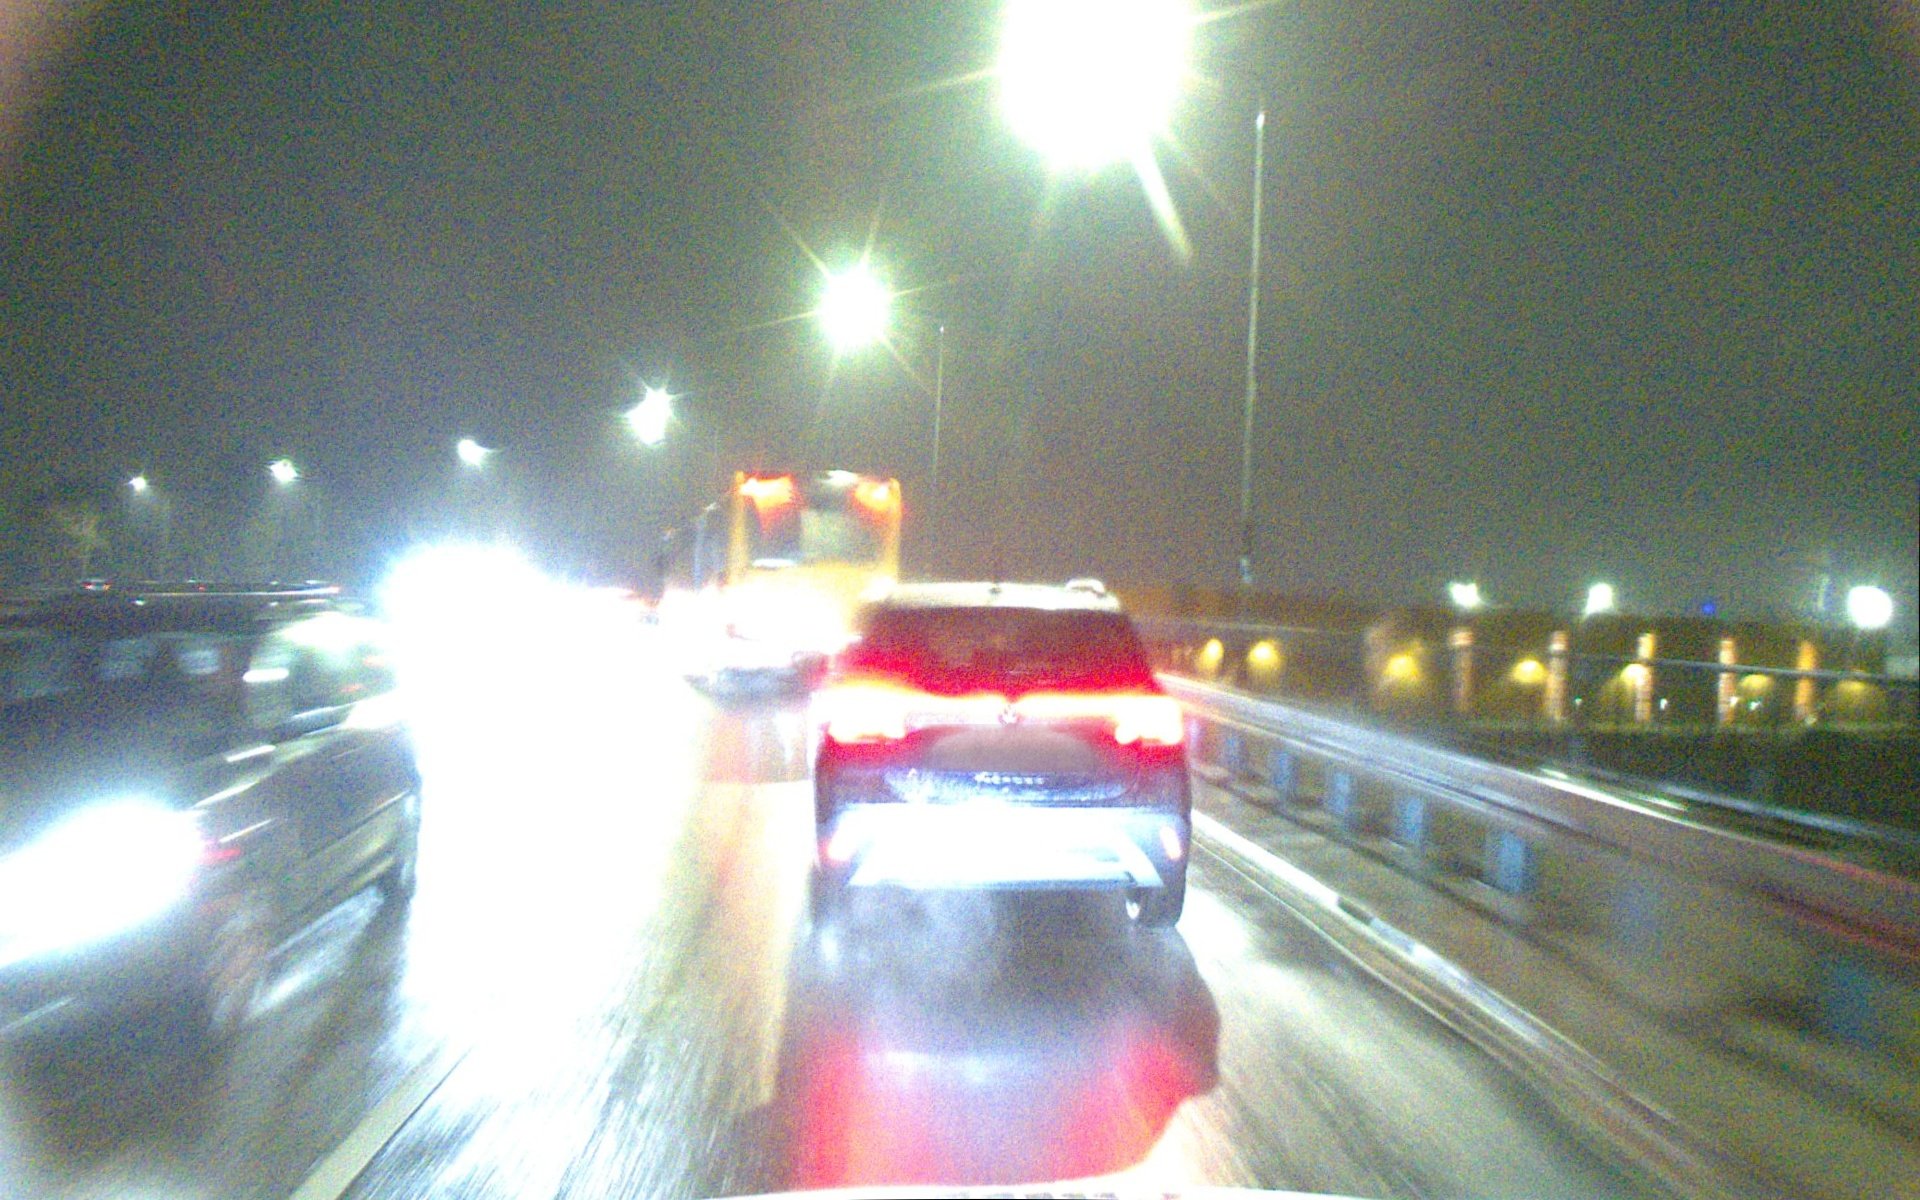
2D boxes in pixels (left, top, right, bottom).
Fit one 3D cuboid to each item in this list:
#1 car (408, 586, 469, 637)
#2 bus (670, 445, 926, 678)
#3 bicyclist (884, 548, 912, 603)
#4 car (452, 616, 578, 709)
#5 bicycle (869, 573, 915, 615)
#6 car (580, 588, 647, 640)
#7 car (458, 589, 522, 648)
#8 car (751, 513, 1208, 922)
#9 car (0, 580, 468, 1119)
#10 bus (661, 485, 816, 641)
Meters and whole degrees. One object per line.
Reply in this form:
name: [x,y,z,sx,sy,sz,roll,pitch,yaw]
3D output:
car: [-21.820,0.454,69.111,1.649,2.049,3.960,0,1,-30]
bus: [-3.305,-0.639,29.123,3.030,3.187,12.658,0,1,-12]
bicyclist: [-1.581,-0.613,41.830,0.446,1.373,0.759,1,0,-22]
car: [-7.677,1.032,28.872,1.651,1.415,4.441,1,0,-9]
bicycle: [-1.747,-0.152,42.267,0.477,1.052,2.157,0,0,-22]
car: [-12.257,0.499,58.434,1.614,1.684,3.684,-3,0,-22]
car: [-16.485,0.616,57.882,1.729,1.893,3.974,-2,2,-21]
car: [-0.101,0.514,8.649,1.820,1.614,3.995,1,-1,-6]
car: [-3.254,0.663,6.465,1.859,1.464,4.057,0,1,-7]
bus: [-5.414,-0.837,39.242,2.995,3.186,8.056,2,0,-12]
